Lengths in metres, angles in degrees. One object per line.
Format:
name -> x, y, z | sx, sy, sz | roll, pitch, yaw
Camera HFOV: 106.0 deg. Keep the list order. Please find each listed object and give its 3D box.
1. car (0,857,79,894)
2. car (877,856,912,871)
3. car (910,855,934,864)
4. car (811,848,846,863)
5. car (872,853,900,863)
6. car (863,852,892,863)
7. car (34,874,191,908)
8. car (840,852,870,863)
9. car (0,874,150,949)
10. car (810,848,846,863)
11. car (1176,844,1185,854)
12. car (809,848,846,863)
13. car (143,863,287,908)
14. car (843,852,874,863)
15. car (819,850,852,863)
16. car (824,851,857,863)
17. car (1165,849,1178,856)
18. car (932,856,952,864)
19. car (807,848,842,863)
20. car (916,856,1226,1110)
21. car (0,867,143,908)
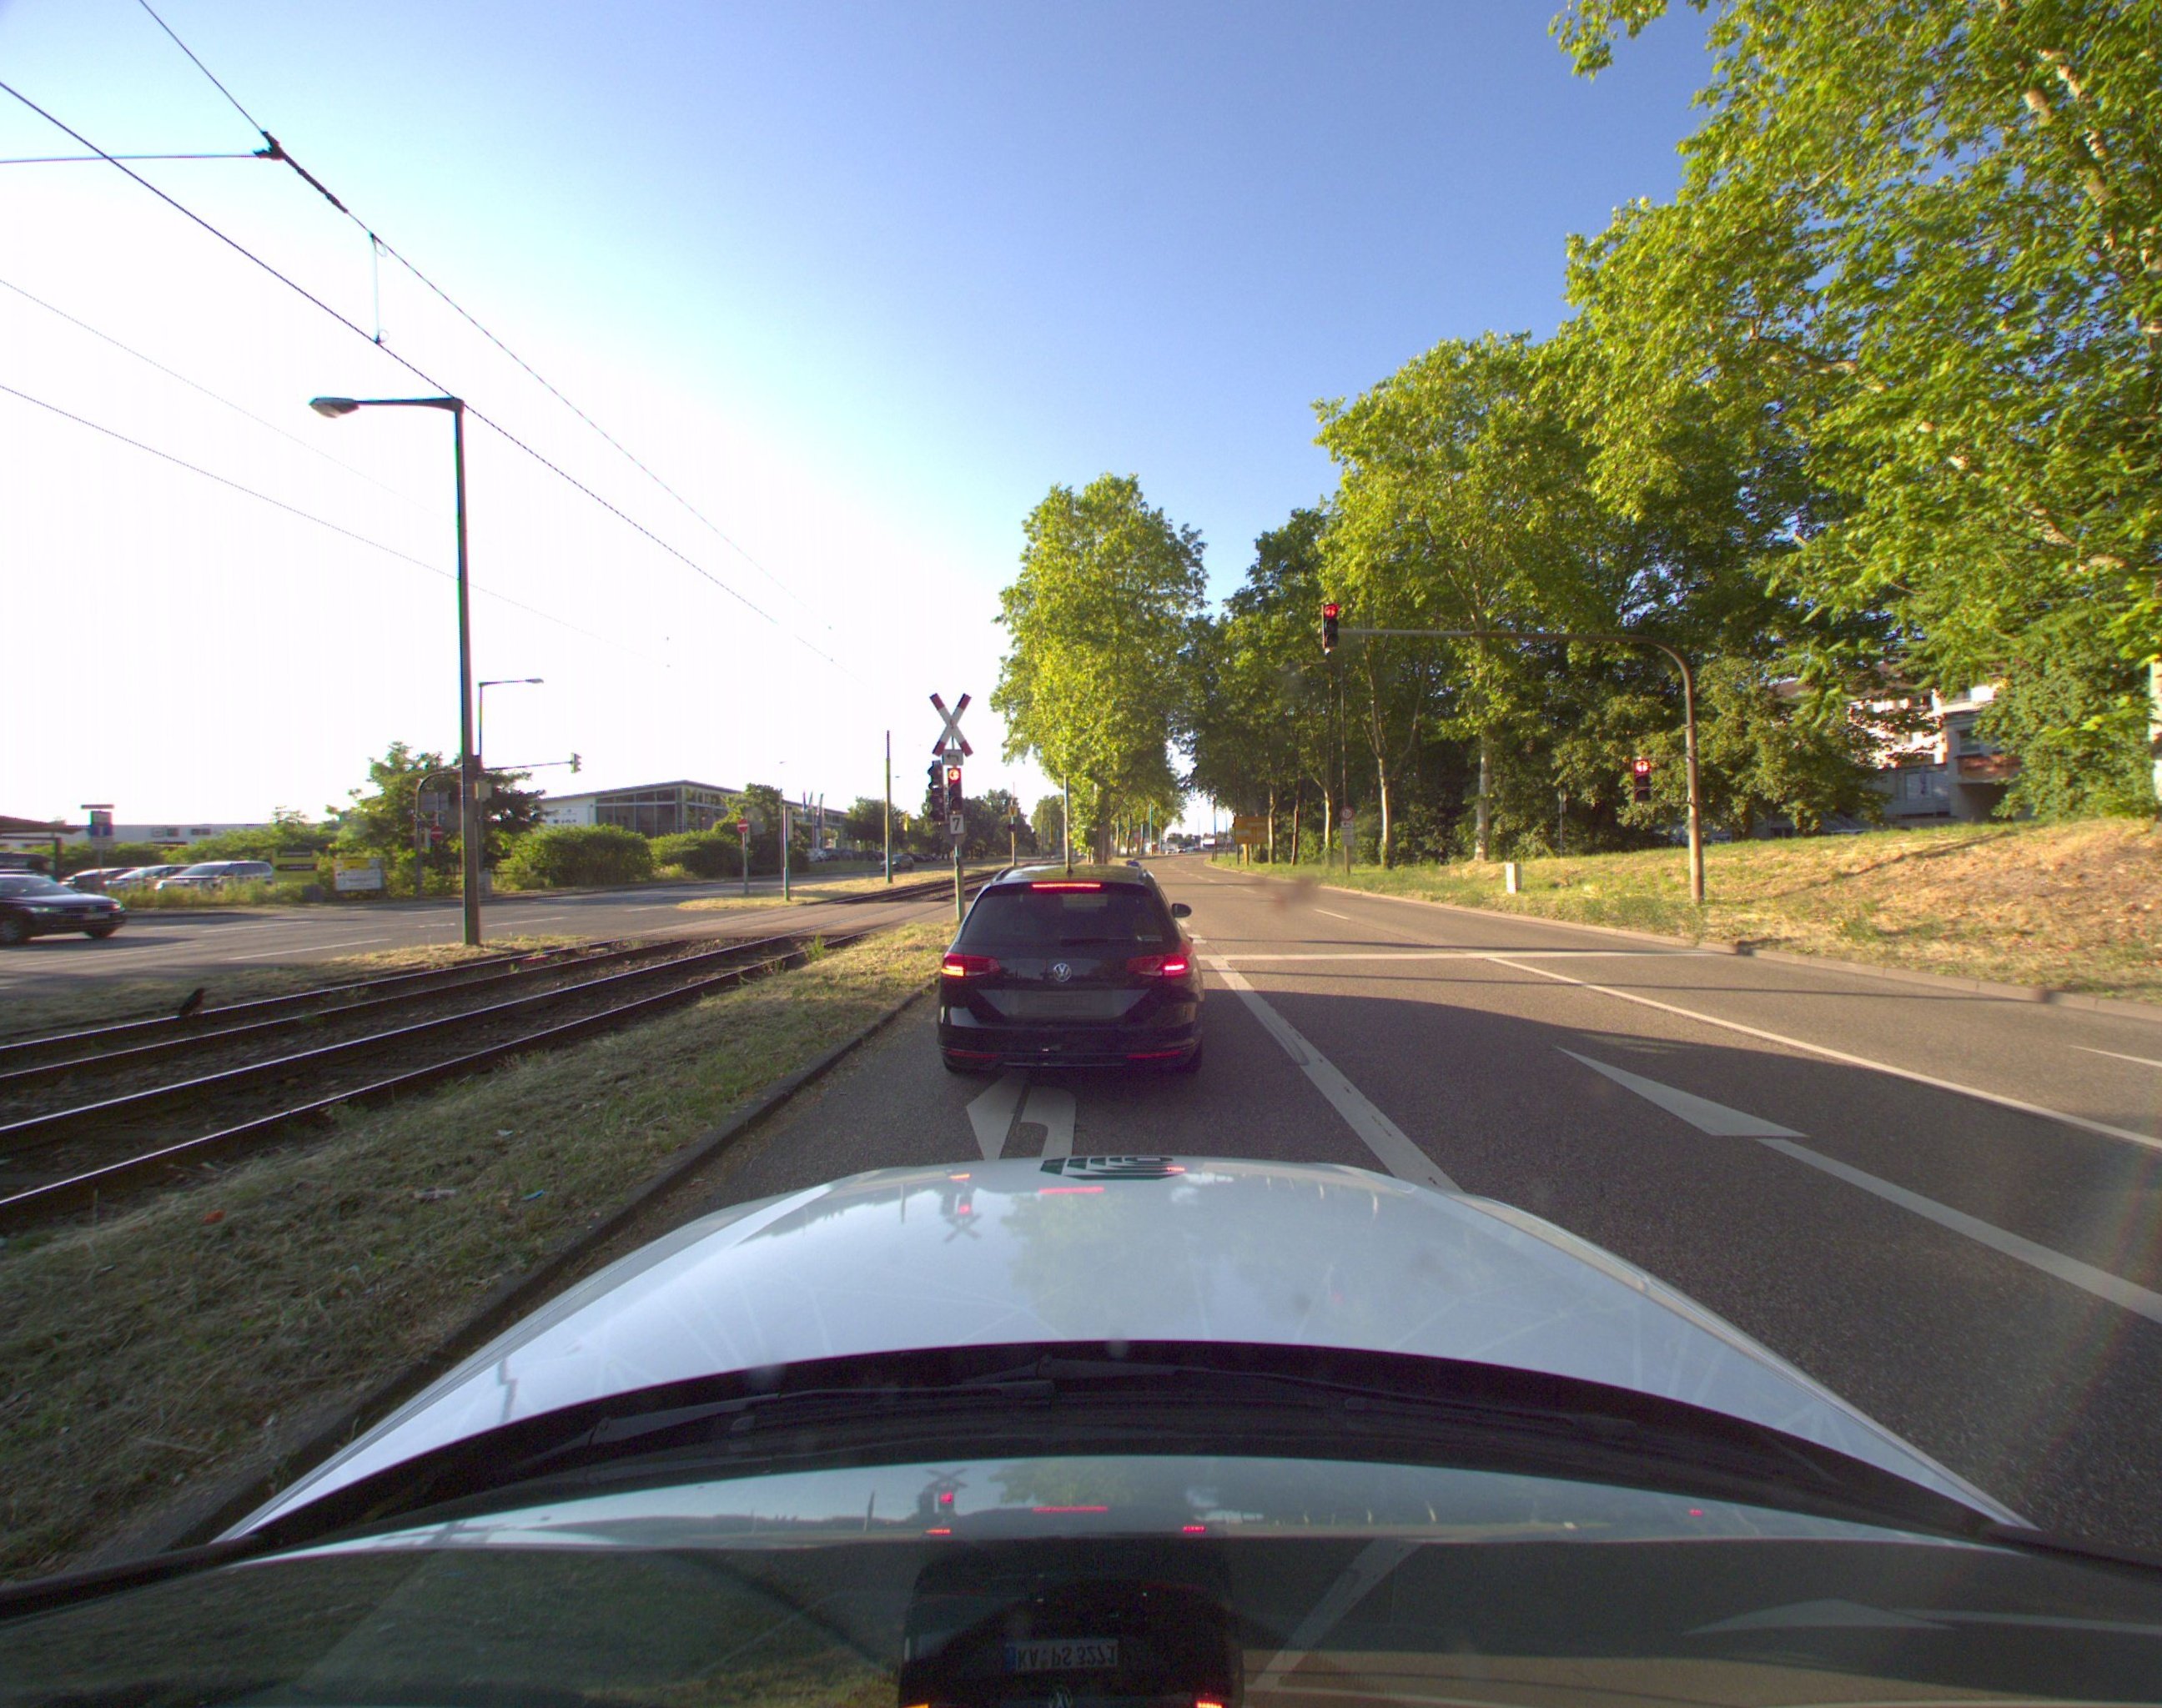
car -> -60.420, 1.189, 45.896 | 1.855, 2.014, 4.773 | 0, 0, 2
car -> -19.123, 0.993, 83.755 | 1.850, 1.481, 4.185 | 0, 0, 12
car -> -29.268, 0.951, 150.003 | 3.978, 1.621, 1.742 | -1, 0, -3
car -> -30.608, 0.163, 98.732 | 3.999, 1.816, 1.732 | -1, 0, -19
car -> -30.127, 0.627, 125.942 | 3.978, 1.621, 1.742 | -1, 0, -3
car -> -30.616, 0.583, 122.741 | 3.978, 1.621, 1.742 | -1, 0, -3
car -> -42.468, 1.593, 35.882 | 1.855, 1.267, 4.174 | 0, 0, 2
car -> -31.235, 0.473, 112.602 | 3.999, 1.556, 1.732 | -1, 0, -19
car -> -25.673, 1.366, 19.534 | 4.344, 1.635, 1.877 | -1, 0, -2
car -> -29.956, 0.198, 96.378 | 3.999, 1.704, 1.732 | -1, 0, -19
car -> 26.282, -1.367, 214.720 | 2.086, 2.461, 5.857 | 0, 0, 3
car -> -29.266, 0.179, 94.109 | 3.999, 1.704, 1.732 | -1, 0, -19
car -> -38.521, 1.351, 36.405 | 1.855, 1.821, 4.174 | 0, 0, 2
car -> -31.444, 0.512, 115.308 | 3.983, 1.556, 1.739 | -1, 0, -7
car -> -31.157, 0.336, 103.413 | 3.999, 1.556, 1.732 | -1, 0, -19
car -> -31.372, 0.380, 106.203 | 3.999, 1.556, 1.732 | -1, 0, -19
car -> 20.345, -0.412, 182.610 | 1.845, 1.481, 4.114 | 0, 0, 23
car -> -28.824, 1.226, 168.915 | 3.977, 1.556, 1.742 | -1, 0, -2
car -> -31.651, 0.165, 100.513 | 3.999, 1.816, 1.732 | -1, 0, -19
car -> -0.013, 0.752, 6.522 | 1.788, 1.464, 3.584 | 0, 0, 1
car -> -44.708, 1.434, 35.885 | 1.855, 1.583, 4.174 | 0, 0, 2
